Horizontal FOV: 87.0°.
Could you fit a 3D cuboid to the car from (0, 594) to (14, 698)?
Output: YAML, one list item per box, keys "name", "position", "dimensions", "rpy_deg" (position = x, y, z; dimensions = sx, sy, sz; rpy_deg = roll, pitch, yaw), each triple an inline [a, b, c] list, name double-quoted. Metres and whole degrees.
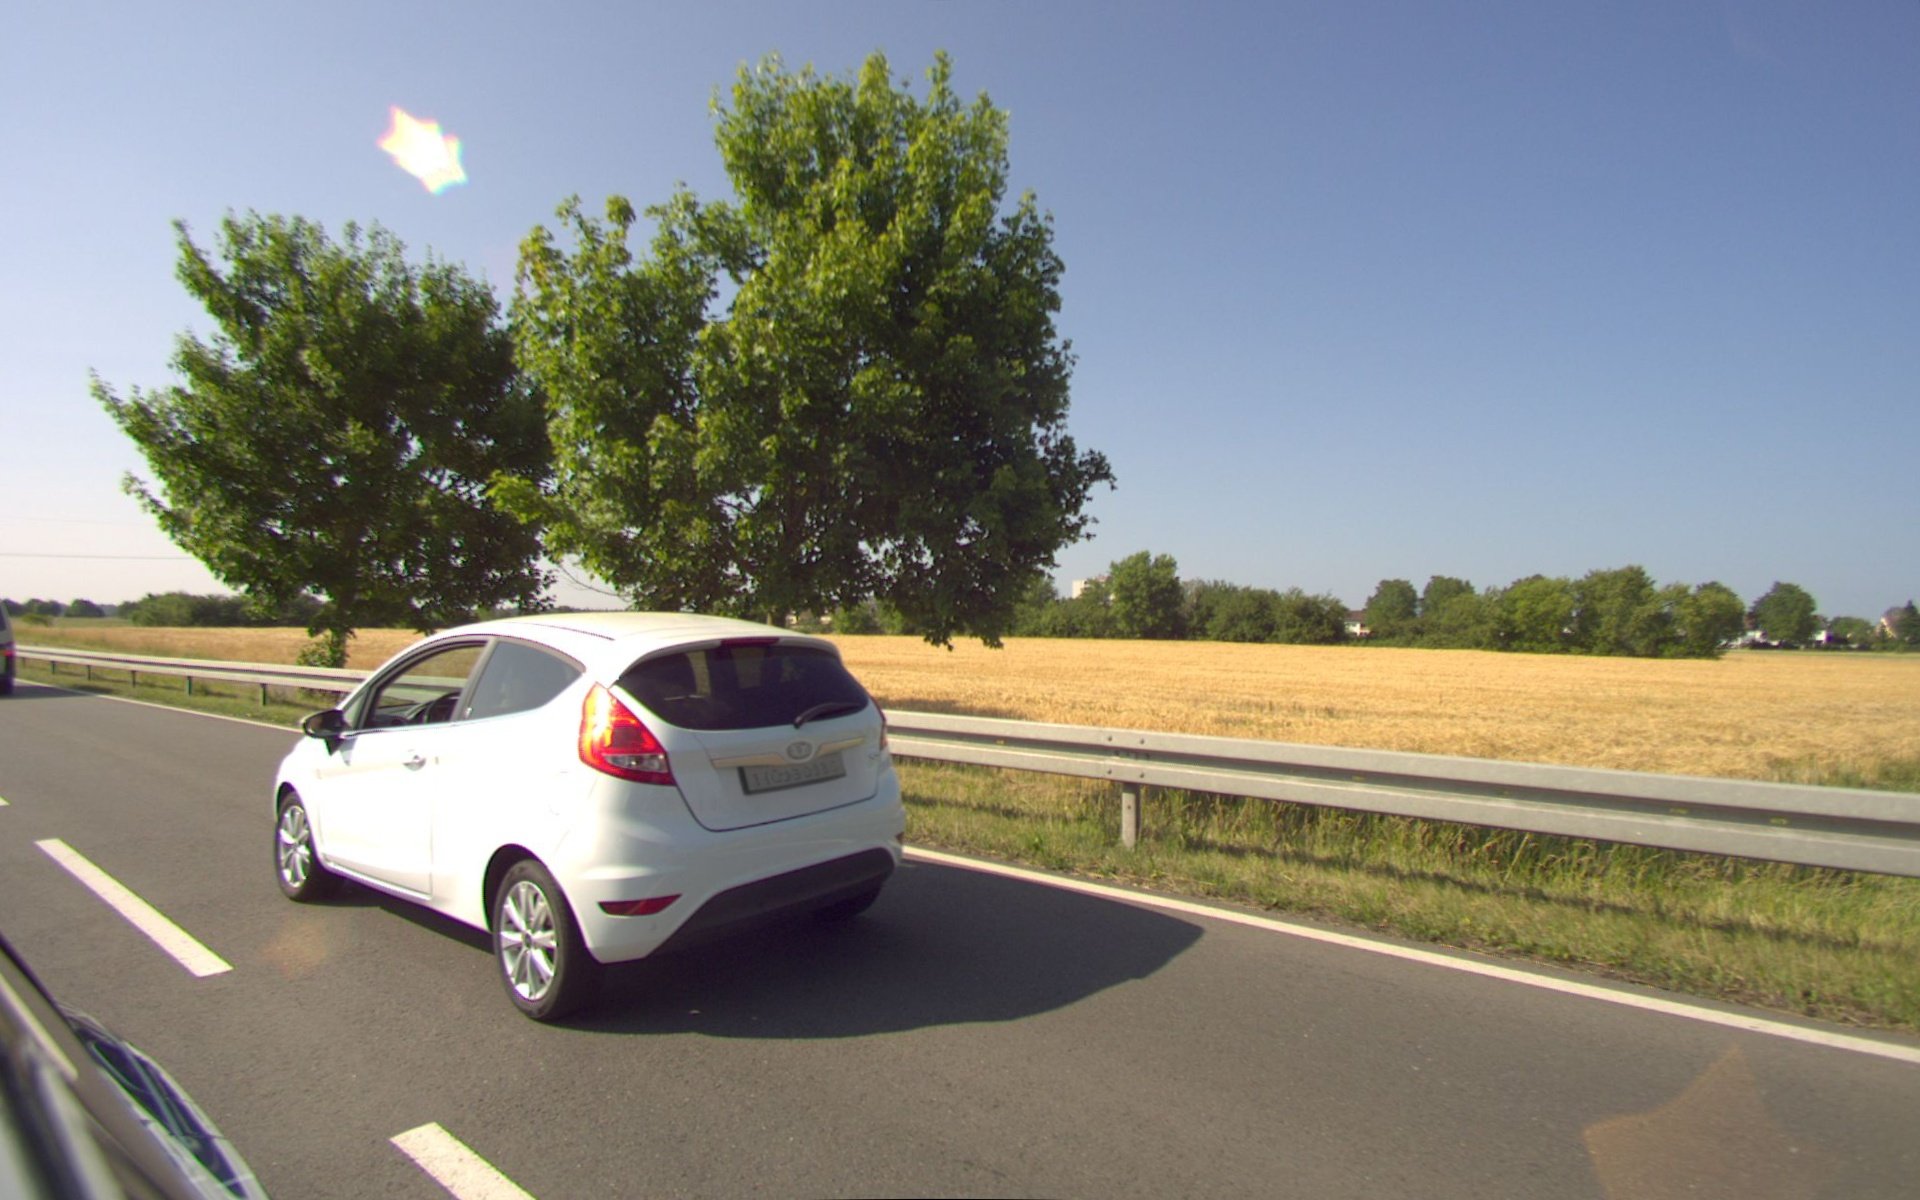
- name: "car"
  position: [-21.045, 0.878, 20.676]
  dimensions: [4.778, 2.029, 1.893]
  rpy_deg: [0, 0, 39]

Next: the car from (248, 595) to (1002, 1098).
- name: "car"
  position: [-1.839, 0.734, 4.859]
  dimensions: [3.844, 1.440, 1.733]
  rpy_deg: [-1, 0, 41]
